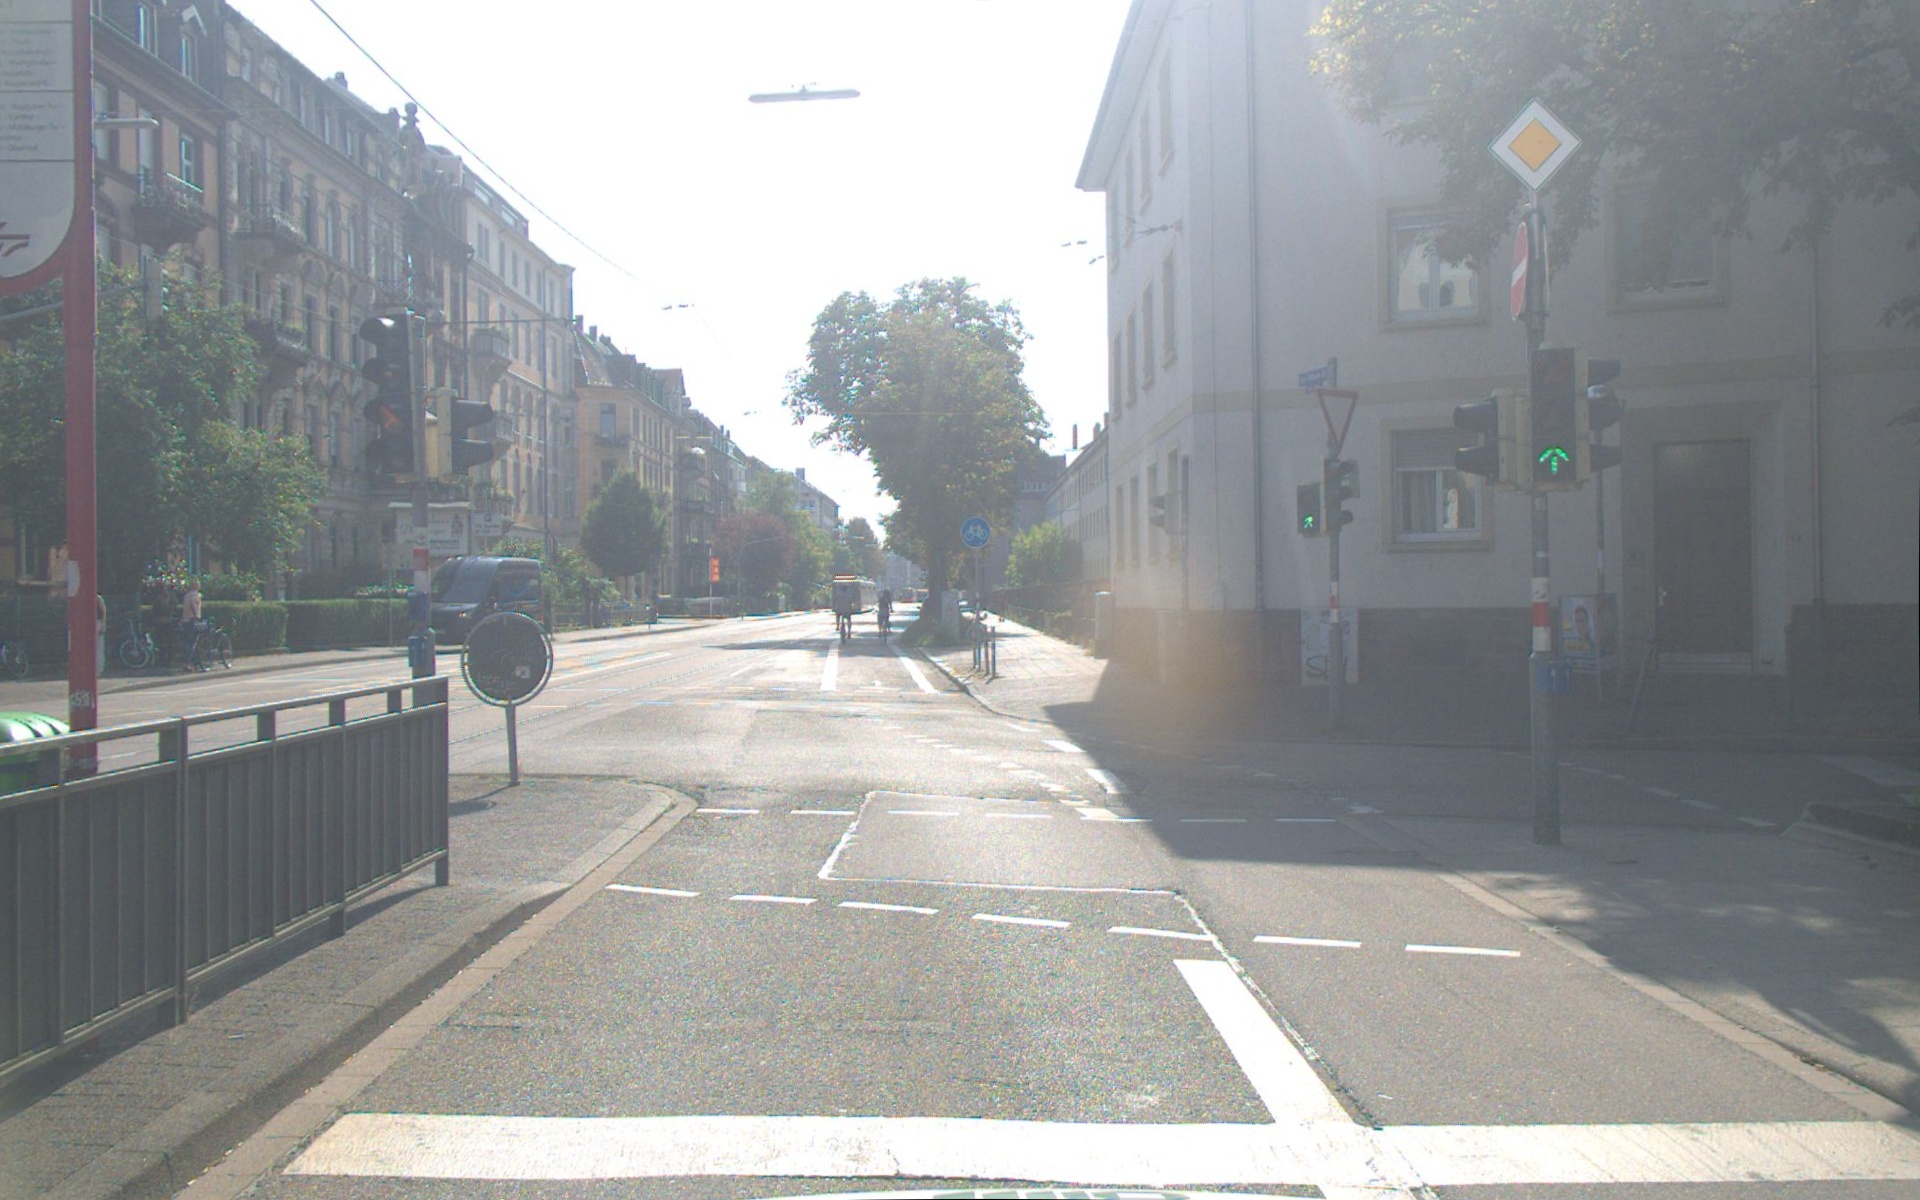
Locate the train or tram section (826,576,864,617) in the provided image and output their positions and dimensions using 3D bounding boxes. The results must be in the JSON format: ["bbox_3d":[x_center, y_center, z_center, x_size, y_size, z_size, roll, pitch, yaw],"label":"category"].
[{"bbox_3d":[-10.537,-0.306,152.436,2.679,3.567,15.429,0,0,-1],"label":"train or tram section"}]

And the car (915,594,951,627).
[{"bbox_3d":[-1.267,0.483,79.890,1.612,1.473,4.245,-3,0,0],"label":"car"}]

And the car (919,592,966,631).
[{"bbox_3d":[-0.741,0.490,72.063,1.611,1.567,3.844,-3,0,5],"label":"car"}]

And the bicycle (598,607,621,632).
[{"bbox_3d":[-16.270,0.891,76.820,0.594,1.076,1.840,3,0,1],"label":"bicycle"}]

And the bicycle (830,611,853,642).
[{"bbox_3d":[-3.637,0.804,50.872,0.614,0.925,1.524,1,0,-1],"label":"bicycle"}]

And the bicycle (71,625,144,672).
[{"bbox_3d":[-17.199,0.974,33.407,0.515,0.875,1.703,-1,0,2],"label":"bicycle"}]

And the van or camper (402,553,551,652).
[{"bbox_3d":[-14.174,0.092,48.950,2.007,2.691,6.094,-1,0,6],"label":"van or camper"}]

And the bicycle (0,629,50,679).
[{"bbox_3d":[-17.583,0.993,30.492,0.515,0.875,1.829,-1,0,2],"label":"bicycle"}]

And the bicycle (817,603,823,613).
[{"bbox_3d":[-17.440,1.003,206.117,0.549,1.242,2.114,-1,0,1],"label":"bicycle"}]

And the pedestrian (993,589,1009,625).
[{"bbox_3d":[2.053,0.347,82.863,0.736,1.779,0.879,-1,0,6],"label":"pedestrian"}]

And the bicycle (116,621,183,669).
[{"bbox_3d":[-17.187,0.944,35.102,0.515,0.943,1.703,-1,0,2],"label":"bicycle"}]

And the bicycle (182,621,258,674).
[{"bbox_3d":[-15.253,0.965,34.150,0.606,1.024,2.150,-1,0,-1],"label":"bicycle"}]

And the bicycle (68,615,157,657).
[{"bbox_3d":[-18.488,0.782,36.086,1.662,0.875,0.528,-1,0,-1],"label":"bicycle"}]

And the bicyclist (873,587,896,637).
[{"bbox_3d":[-2.303,0.375,50.465,0.641,1.500,0.908,1,0,-1],"label":"bicyclist"}]

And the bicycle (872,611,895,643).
[{"bbox_3d":[-2.319,0.822,50.477,0.641,0.925,1.774,1,0,-1],"label":"bicycle"}]

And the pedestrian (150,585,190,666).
[{"bbox_3d":[-17.033,0.542,35.655,0.625,1.708,0.632,-1,0,-13],"label":"pedestrian"}]

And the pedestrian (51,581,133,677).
[{"bbox_3d":[-16.639,0.541,31.725,0.886,1.797,1.186,-1,0,3],"label":"pedestrian"}]

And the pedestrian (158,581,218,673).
[{"bbox_3d":[-15.748,0.547,33.752,0.713,1.838,1.093,-1,0,-2],"label":"pedestrian"}]

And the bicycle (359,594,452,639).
[{"bbox_3d":[-18.683,0.550,55.796,2.820,1.480,0.996,0,0,-7],"label":"bicycle"}]

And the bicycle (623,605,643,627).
[{"bbox_3d":[-16.339,0.784,82.753,0.533,1.076,1.840,3,0,1],"label":"bicycle"}]

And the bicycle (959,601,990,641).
[{"bbox_3d":[0.422,0.606,48.344,0.756,1.123,2.332,-1,0,-3],"label":"bicycle"}]

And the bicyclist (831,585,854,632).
[{"bbox_3d":[-3.612,0.259,50.886,0.614,1.425,0.929,1,0,-1],"label":"bicyclist"}]

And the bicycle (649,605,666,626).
[{"bbox_3d":[-16.424,0.828,89.777,0.533,1.076,1.840,3,0,1],"label":"bicycle"}]

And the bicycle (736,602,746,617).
[{"bbox_3d":[-16.540,0.683,124.885,0.498,1.127,2.003,-1,0,0],"label":"bicycle"}]
